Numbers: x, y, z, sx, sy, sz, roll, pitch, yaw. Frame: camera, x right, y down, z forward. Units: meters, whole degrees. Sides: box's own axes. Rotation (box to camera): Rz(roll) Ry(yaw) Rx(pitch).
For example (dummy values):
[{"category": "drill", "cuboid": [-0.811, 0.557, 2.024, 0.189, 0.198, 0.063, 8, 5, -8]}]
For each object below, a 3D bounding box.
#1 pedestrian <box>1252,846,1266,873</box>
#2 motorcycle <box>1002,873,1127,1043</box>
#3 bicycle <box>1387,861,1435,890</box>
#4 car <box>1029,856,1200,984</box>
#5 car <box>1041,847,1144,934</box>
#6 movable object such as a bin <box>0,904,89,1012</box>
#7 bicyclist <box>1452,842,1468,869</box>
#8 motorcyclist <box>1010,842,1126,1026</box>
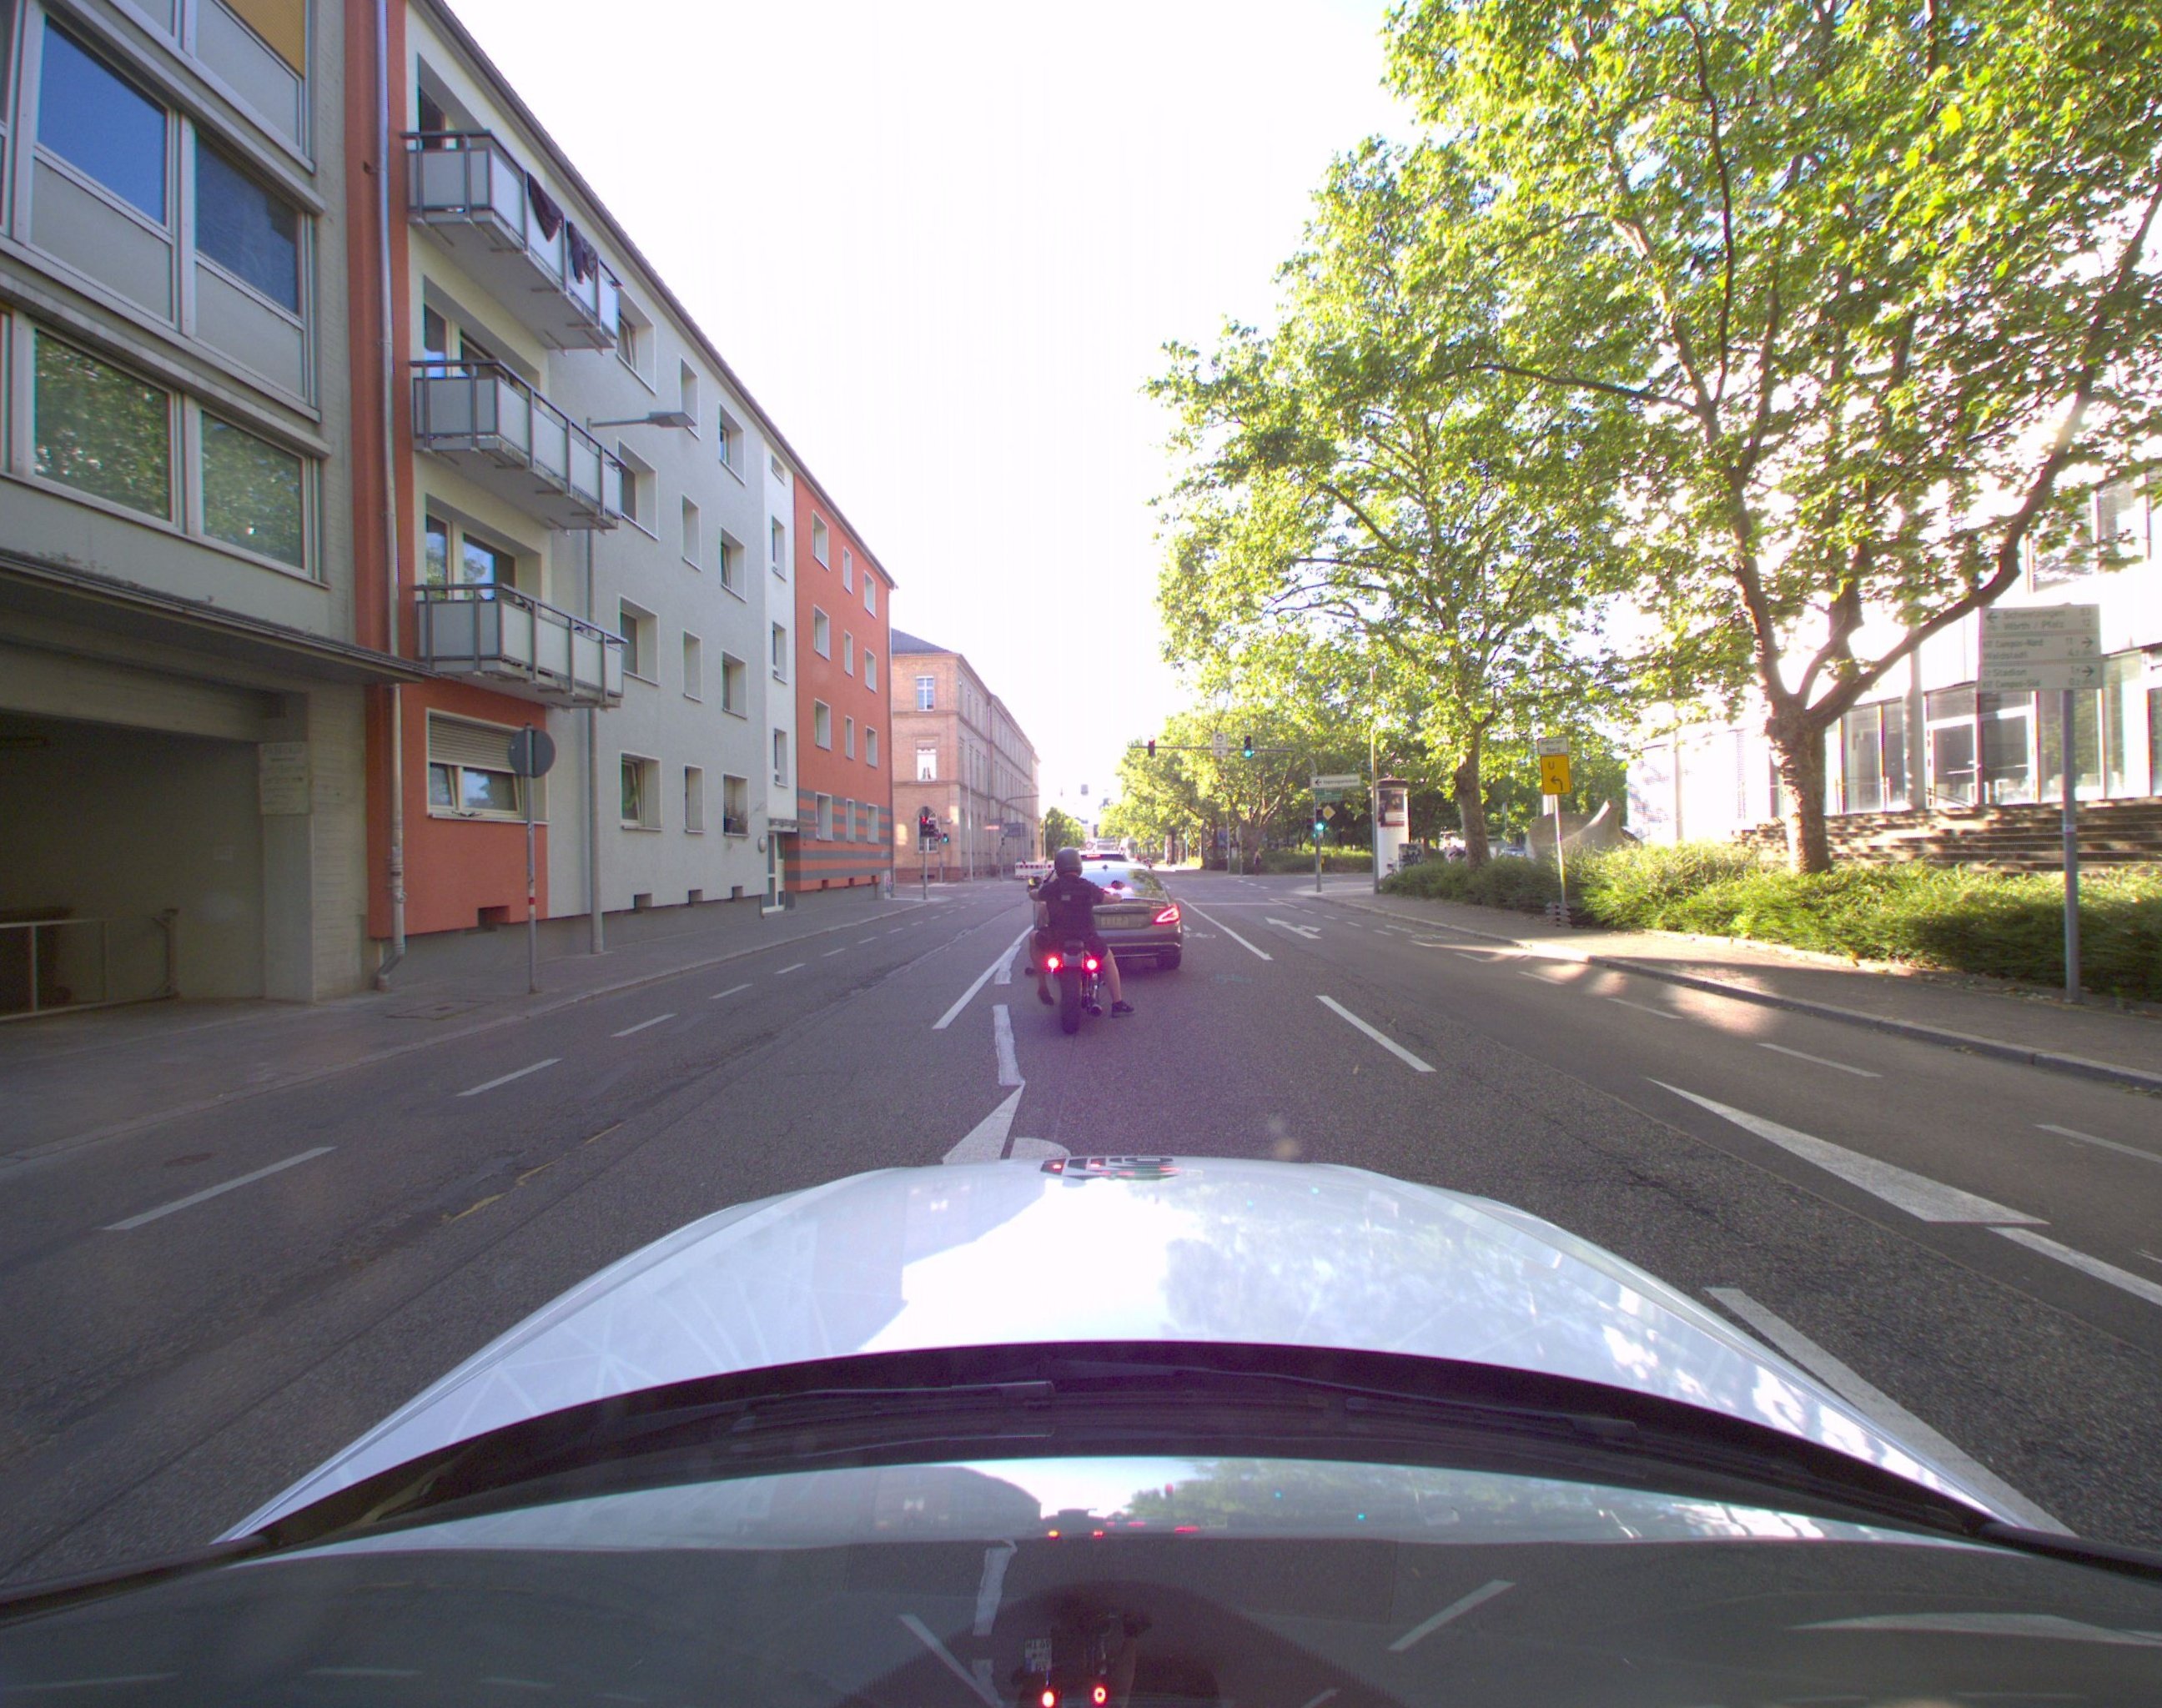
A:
[{"category": "pedestrian", "cuboid": [11.650, 0.346, 53.307, 0.620, 1.772, 0.671, 0, -1, -44]}, {"category": "motorcycle", "cuboid": [-0.094, 0.857, 7.704, 0.977, 1.275, 2.408, -1, 0, 2]}, {"category": "bicycle", "cuboid": [11.077, 0.715, 27.336, 1.475, 0.980, 0.300, 0, -1, 7]}, {"category": "car", "cuboid": [0.261, 0.773, 11.758, 1.867, 1.444, 4.421, -1, 0, -6]}, {"category": "car", "cuboid": [0.287, 0.726, 17.685, 1.986, 1.665, 4.001, 0, -1, 2]}, {"category": "movable object such as a bin", "cuboid": [-11.291, 1.089, 8.660, 0.639, 1.065, 0.675, -1, 0, 1]}, {"category": "bicyclist", "cuboid": [22.403, 0.096, 48.150, 0.726, 1.582, 0.598, 0, -1, 7]}, {"category": "motorcyclist", "cuboid": [-0.095, 0.694, 7.686, 0.977, 1.578, 1.249, -1, 0, 1]}]
